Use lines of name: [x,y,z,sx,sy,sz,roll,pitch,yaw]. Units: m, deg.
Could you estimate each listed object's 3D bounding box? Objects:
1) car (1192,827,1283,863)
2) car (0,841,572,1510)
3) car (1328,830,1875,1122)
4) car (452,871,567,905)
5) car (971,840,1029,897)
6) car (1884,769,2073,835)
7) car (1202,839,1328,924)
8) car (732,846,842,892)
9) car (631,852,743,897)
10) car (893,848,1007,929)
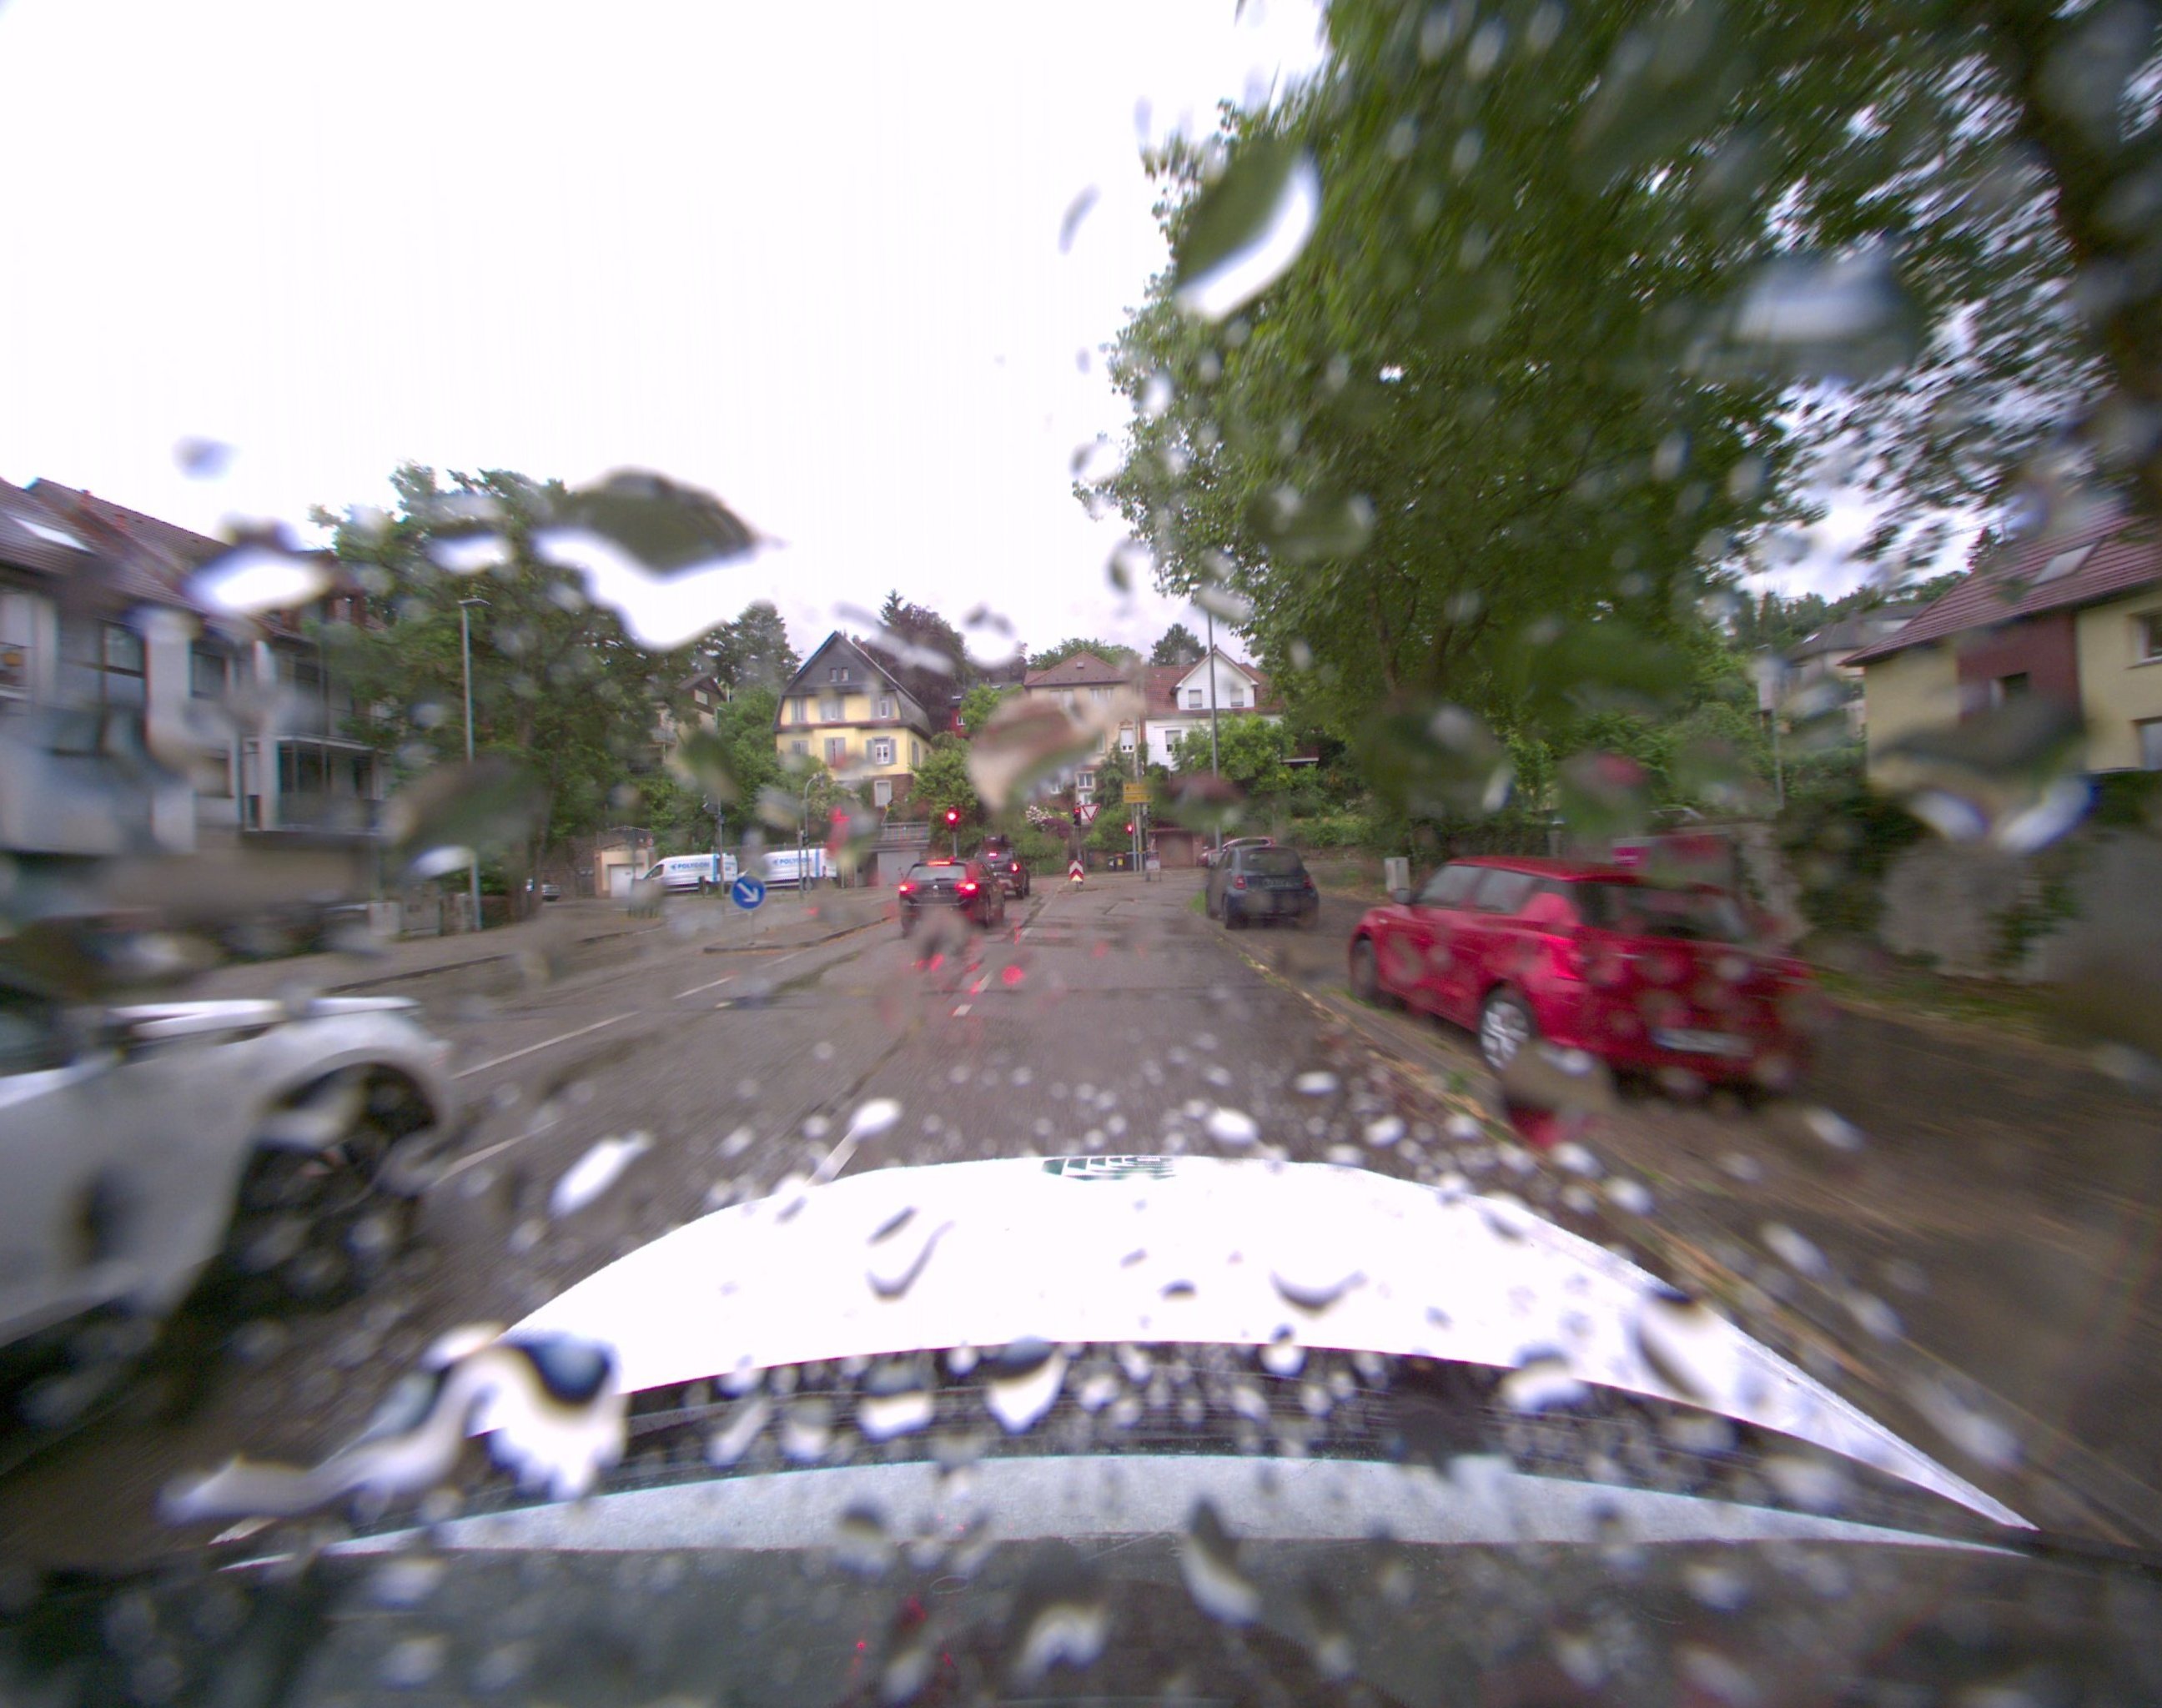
car: [8.408,-0.446,43.992,4.550,1.601,1.776,-4,-1,2]
car: [-3.400,0.794,1.709,1.746,1.535,4.369,-4,0,1]
car: [3.521,0.643,6.486,1.814,1.517,3.742,4,2,-1]
car: [-34.772,2.072,49.651,5.540,1.854,2.112,-2,-1,2]
car: [-2.741,0.409,27.767,1.757,1.711,4.593,-1,1,-5]
car: [24.849,-1.379,22.723,1.480,1.471,3.431,-4,-1,2]
car: [3.496,0.475,16.088,1.743,1.491,3.601,0,0,1]
car: [-17.581,0.892,48.920,5.638,2.494,2.317,-2,-1,2]
car: [-23.765,1.211,49.263,5.540,2.494,2.317,-2,-1,2]
car: [-2.721,0.647,17.902,1.826,1.456,4.656,0,1,-1]
